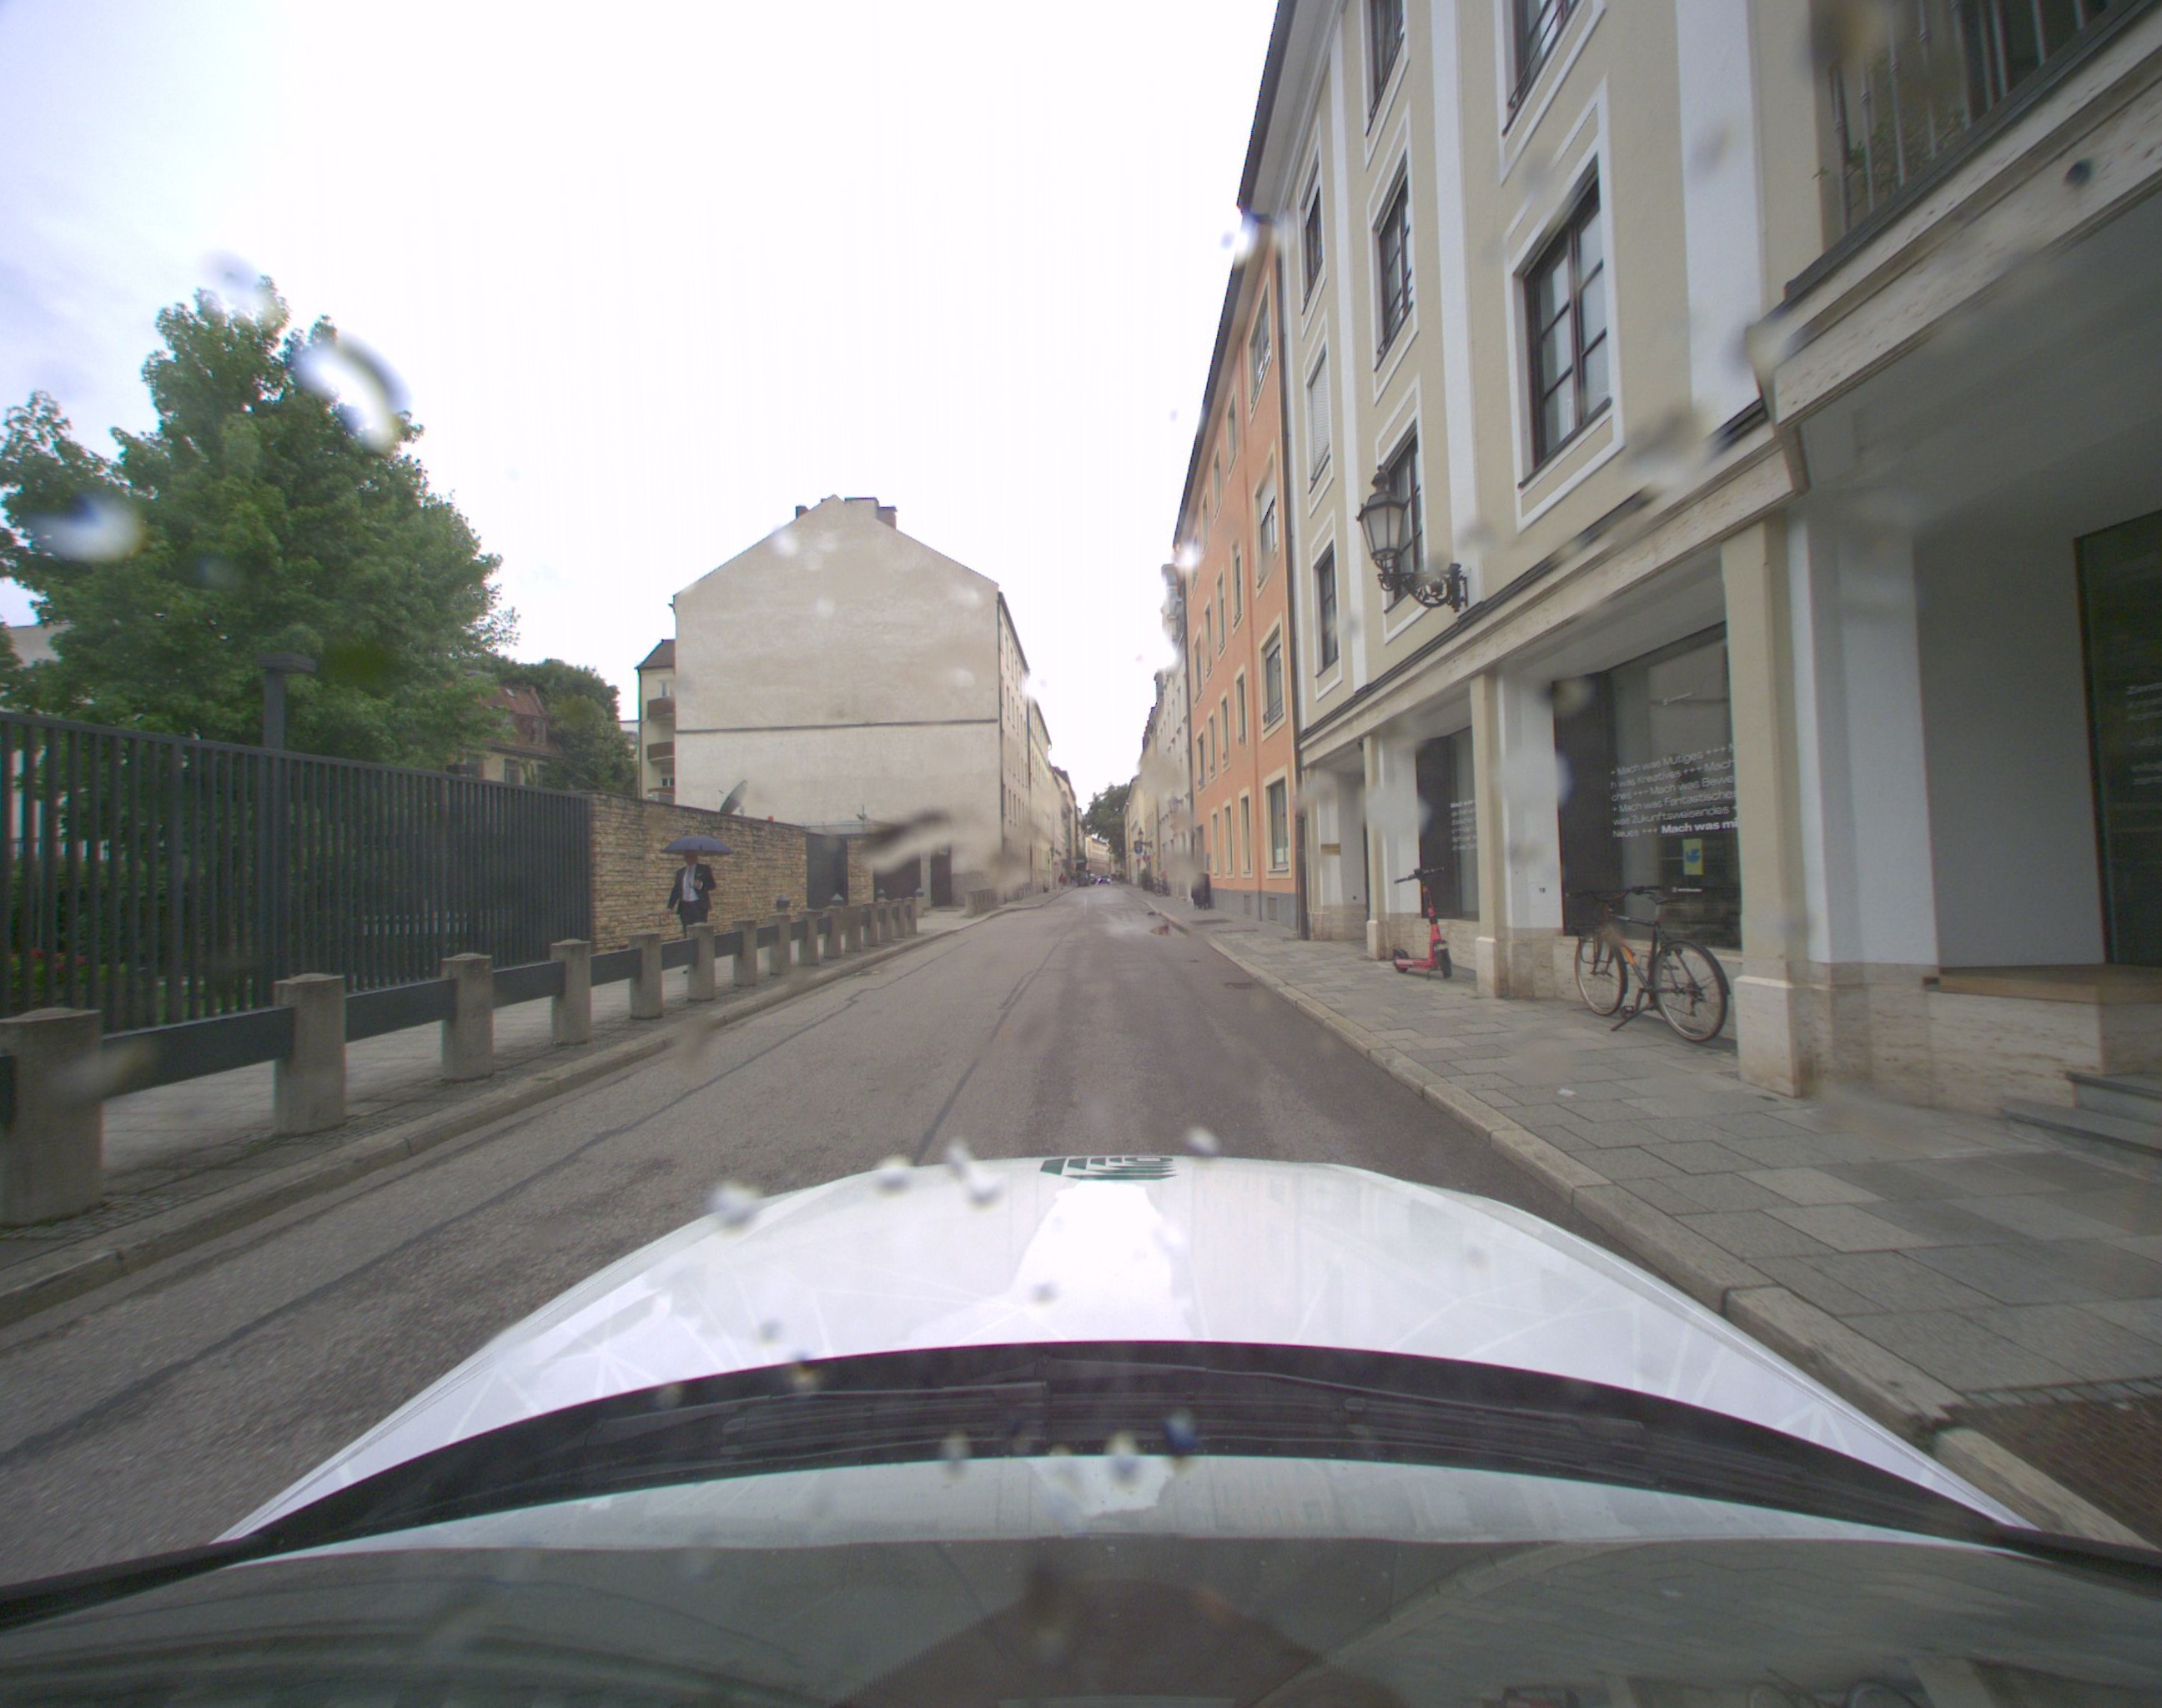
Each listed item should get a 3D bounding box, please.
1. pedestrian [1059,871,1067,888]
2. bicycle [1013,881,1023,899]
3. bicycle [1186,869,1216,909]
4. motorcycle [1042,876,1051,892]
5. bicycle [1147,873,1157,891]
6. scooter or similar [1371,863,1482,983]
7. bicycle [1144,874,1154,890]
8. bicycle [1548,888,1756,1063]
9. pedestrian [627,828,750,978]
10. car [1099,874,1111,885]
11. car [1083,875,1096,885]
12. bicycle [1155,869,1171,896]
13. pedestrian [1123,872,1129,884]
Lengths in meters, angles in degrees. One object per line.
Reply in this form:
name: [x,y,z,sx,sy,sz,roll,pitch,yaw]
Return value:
pedestrian: [-1.869,2.615,84.026,0.763,1.708,0.785,-2,-2,-1]
bicycle: [-3.526,2.019,45.701,0.318,0.944,1.575,1,-1,3]
bicycle: [4.071,1.177,27.754,0.676,1.240,2.384,-6,-1,3]
motorcycle: [-2.717,2.354,63.934,0.600,1.174,1.709,-1,-2,2]
bicycle: [4.863,1.897,55.769,0.563,1.137,1.988,-4,-2,2]
scooter or similar: [3.959,0.751,9.431,0.465,1.259,1.271,-4,0,-12]
bicycle: [4.838,1.996,57.987,0.563,1.137,1.685,-4,-2,2]
bicycle: [4.197,0.815,6.180,0.461,0.994,2.085,-3,0,11]
pedestrian: [-5.832,0.704,12.179,1.218,2.104,1.117,-2,-1,3]
car: [3.687,3.982,126.702,1.806,1.594,3.999,-1,-2,0]
car: [1.389,4.072,127.653,1.771,1.467,3.666,-1,-2,4]
bicycle: [4.494,1.531,44.693,0.710,1.396,2.123,-4,-2,4]
pedestrian: [6.505,3.454,118.357,0.877,1.802,1.046,0,-2,2]
